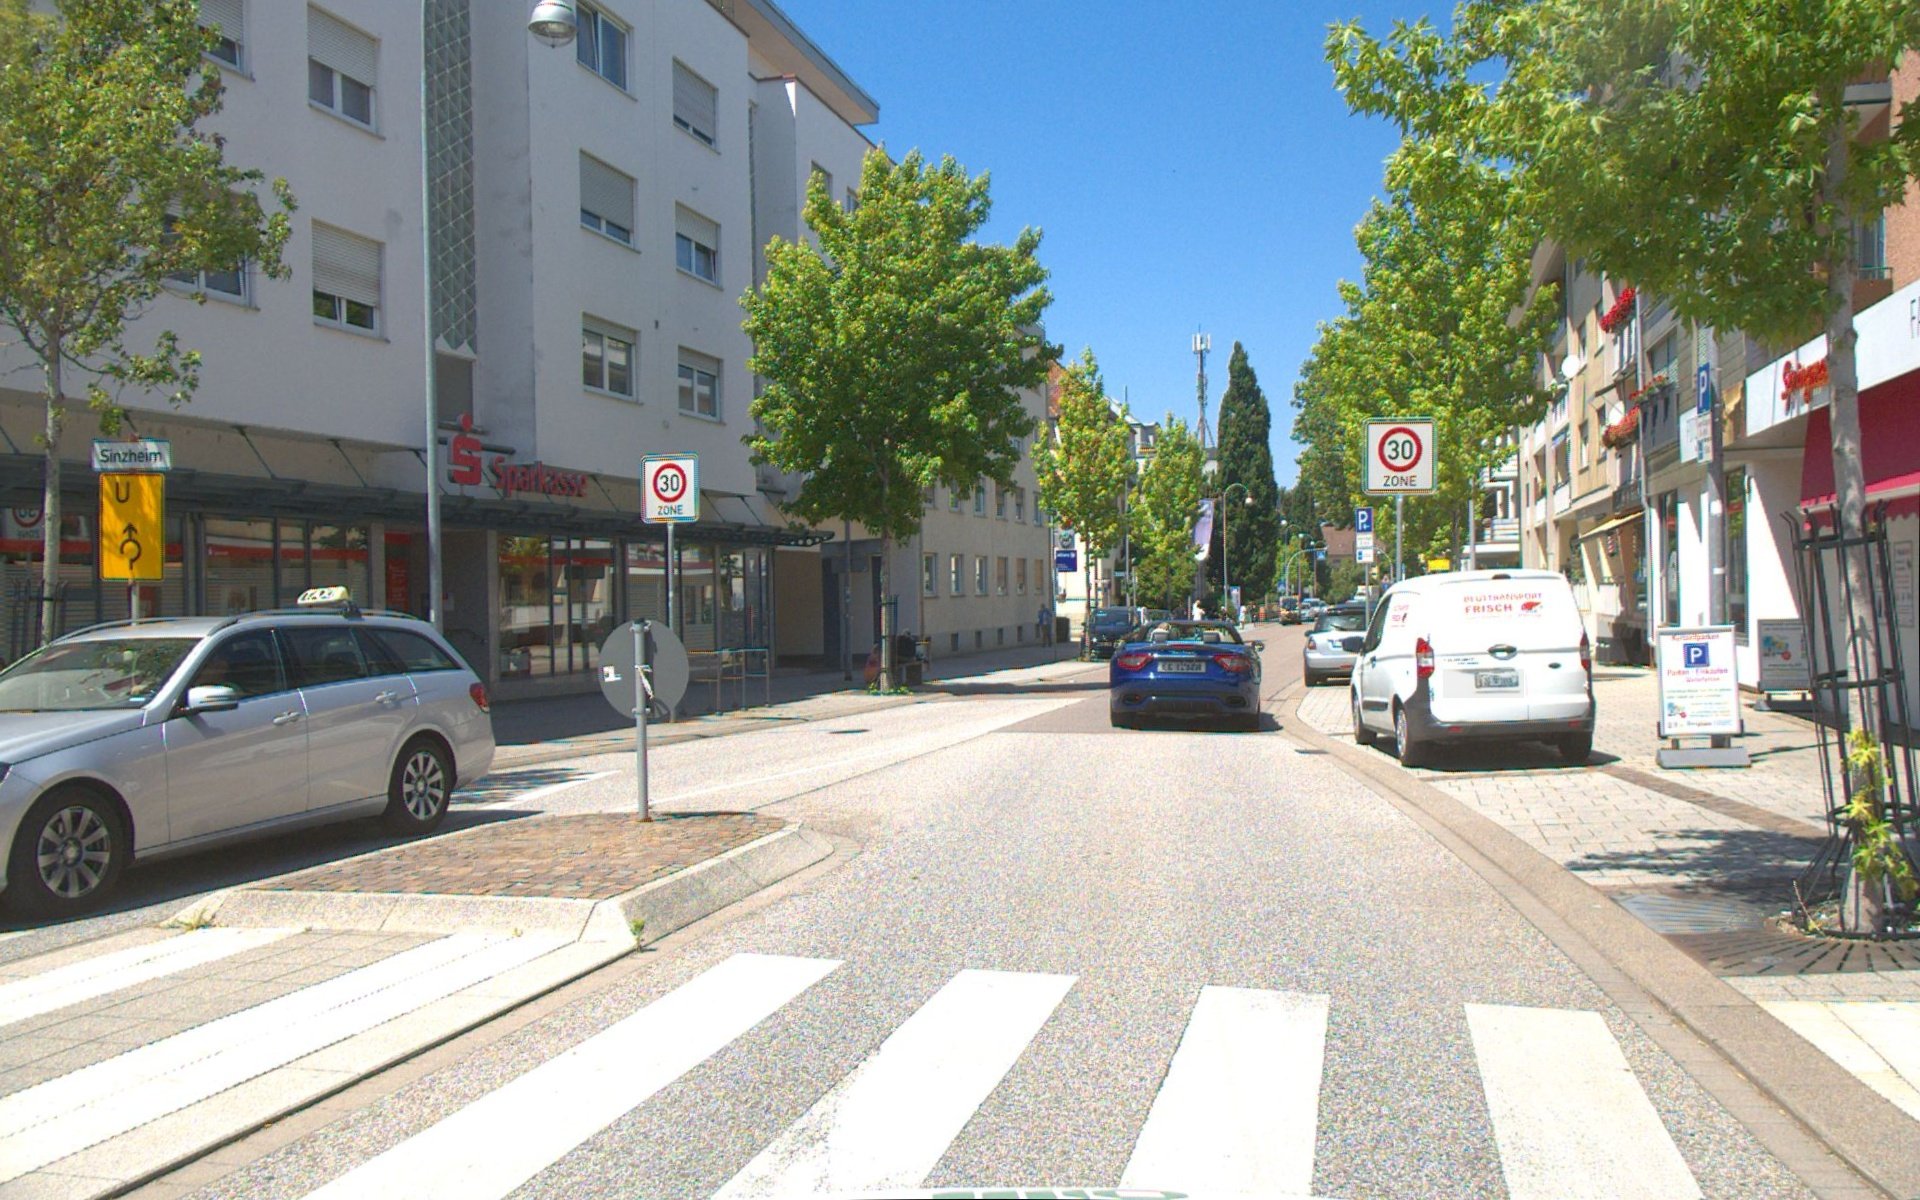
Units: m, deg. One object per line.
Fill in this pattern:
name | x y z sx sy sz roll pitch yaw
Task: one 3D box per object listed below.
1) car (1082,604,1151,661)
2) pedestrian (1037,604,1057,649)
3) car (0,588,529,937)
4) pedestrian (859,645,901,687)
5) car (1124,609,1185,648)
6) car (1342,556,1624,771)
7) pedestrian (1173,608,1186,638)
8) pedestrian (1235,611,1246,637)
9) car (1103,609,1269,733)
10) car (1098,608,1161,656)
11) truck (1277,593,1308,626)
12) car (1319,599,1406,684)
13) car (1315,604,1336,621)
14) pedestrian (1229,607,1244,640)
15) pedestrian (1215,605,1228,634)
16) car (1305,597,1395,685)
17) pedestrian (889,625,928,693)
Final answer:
car | 5.299 1.048 55.551 1.692 1.771 4.396 2 1 13
pedestrian | 3.444 1.051 65.658 0.643 1.709 0.631 -3 1 -3
car | -4.825 0.784 9.900 1.951 1.620 5.002 -3 0 17
pedestrian | -1.744 1.442 36.029 0.651 0.873 0.732 -2 -5 24
car | 7.921 1.116 67.097 1.717 1.500 4.324 0 0 17
car | 4.933 0.563 16.146 1.710 1.754 3.912 -3 -1 5
pedestrian | 11.234 1.175 84.539 0.567 1.500 0.564 -1 -1 14
pedestrian | 17.553 1.481 103.541 0.574 1.602 0.782 -1 0 14
car | 2.952 0.846 21.718 1.934 1.422 4.630 0 0 8
car | 6.301 1.136 61.103 1.785 1.648 4.396 0 1 13
truck | 23.668 0.662 117.547 1.766 2.154 4.718 -3 0 15
car | 9.164 0.886 37.428 1.726 1.735 4.709 -3 -1 15
car | 34.322 1.160 155.298 1.732 1.502 4.141 -3 -1 14
pedestrian | 17.343 1.479 103.682 0.831 1.949 0.762 -3 1 13
pedestrian | 13.698 1.044 86.613 0.567 1.500 0.564 -1 -1 14
car | 7.758 0.780 32.724 1.588 1.586 3.843 -2 -1 15
pedestrian | -1.076 1.240 34.780 0.556 1.396 0.666 -2 -2 24
